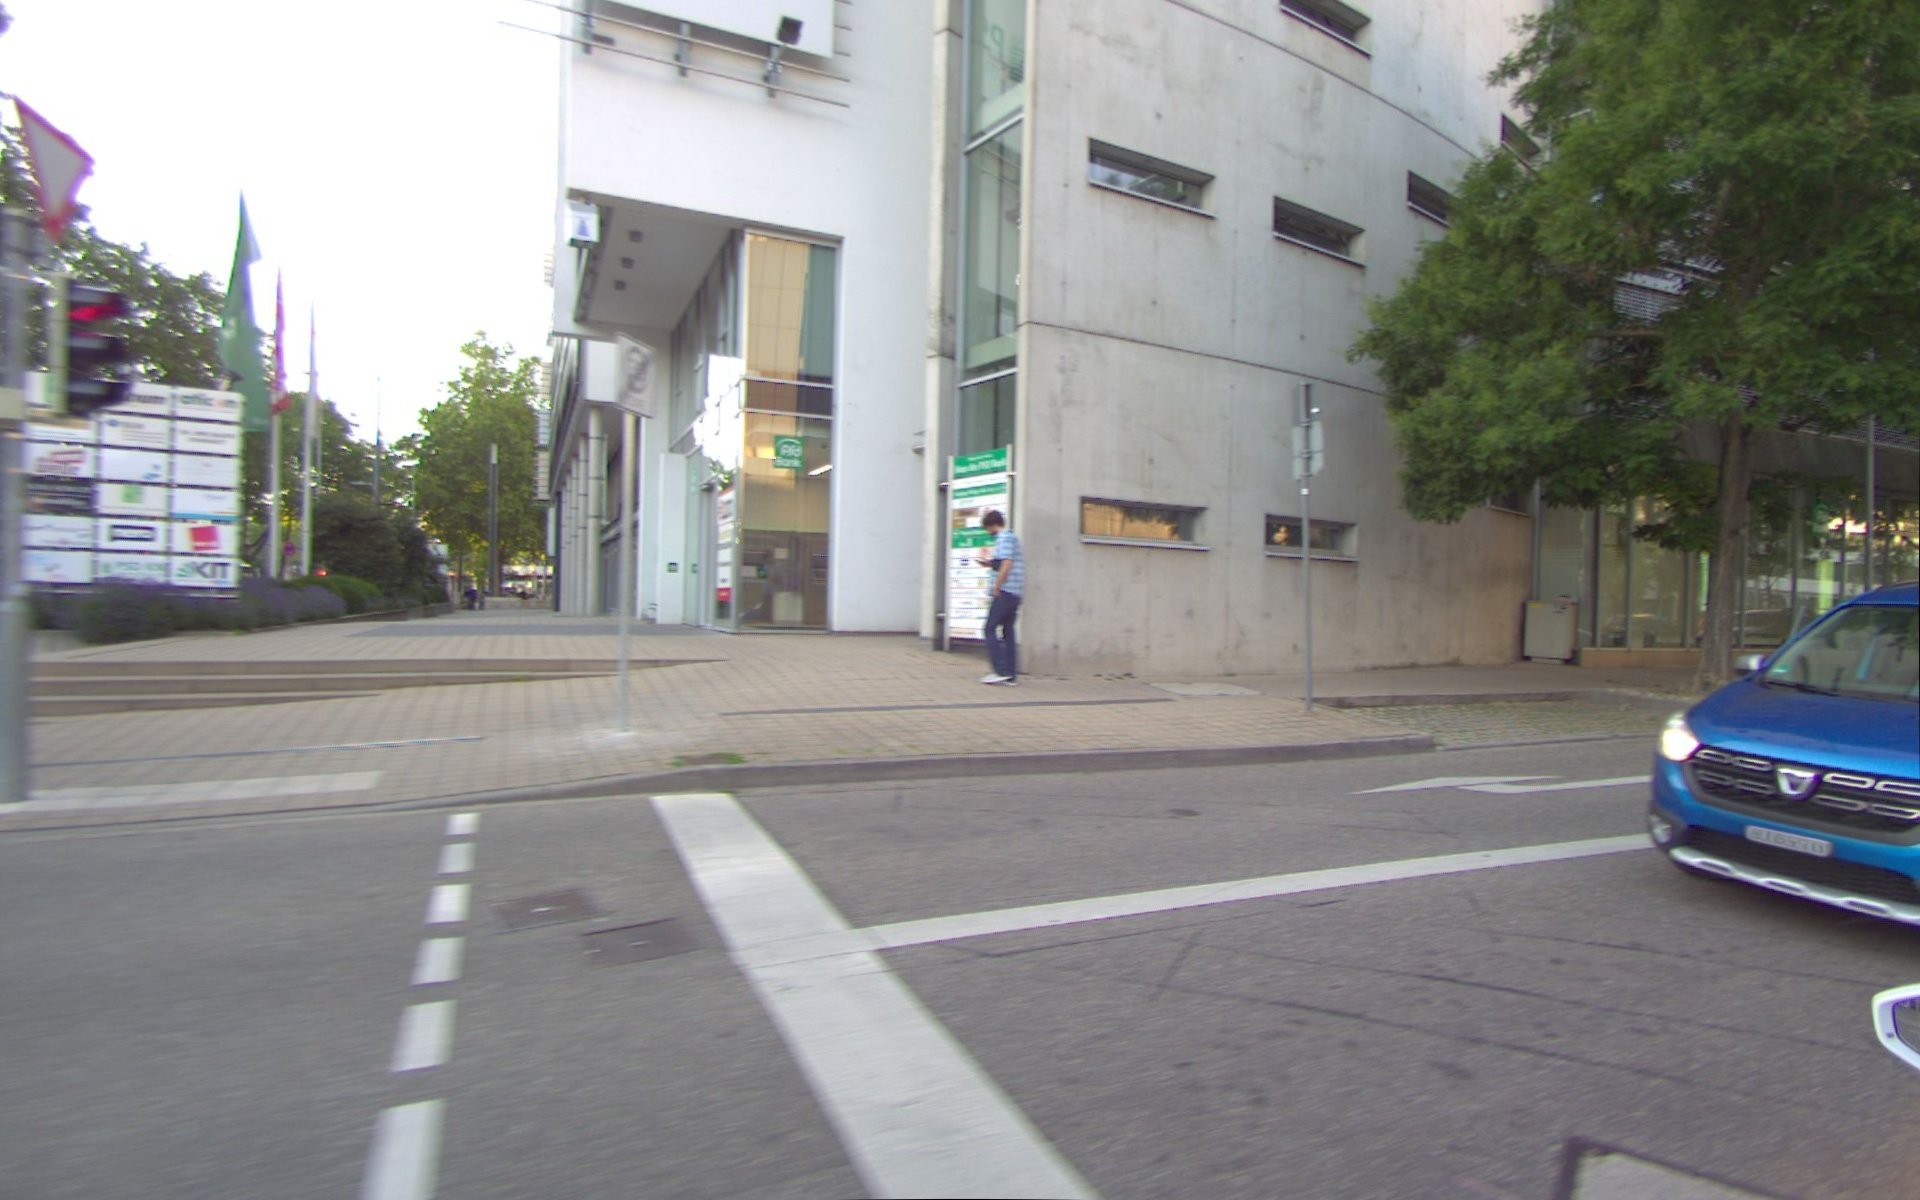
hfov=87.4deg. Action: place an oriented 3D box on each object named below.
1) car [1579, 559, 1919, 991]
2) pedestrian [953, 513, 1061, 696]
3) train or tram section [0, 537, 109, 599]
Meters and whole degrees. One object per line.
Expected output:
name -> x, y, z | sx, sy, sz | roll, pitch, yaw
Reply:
car -> 5.513, 0.718, 5.283 | 4.213, 1.701, 1.743 | 1, 1, -24
pedestrian -> 0.514, 0.029, 11.236 | 0.693, 1.909, 0.869 | 0, 7, -35
train or tram section -> -55.760, -1.864, 62.131 | 2.308, 3.434, 10.462 | 1, 0, -27
